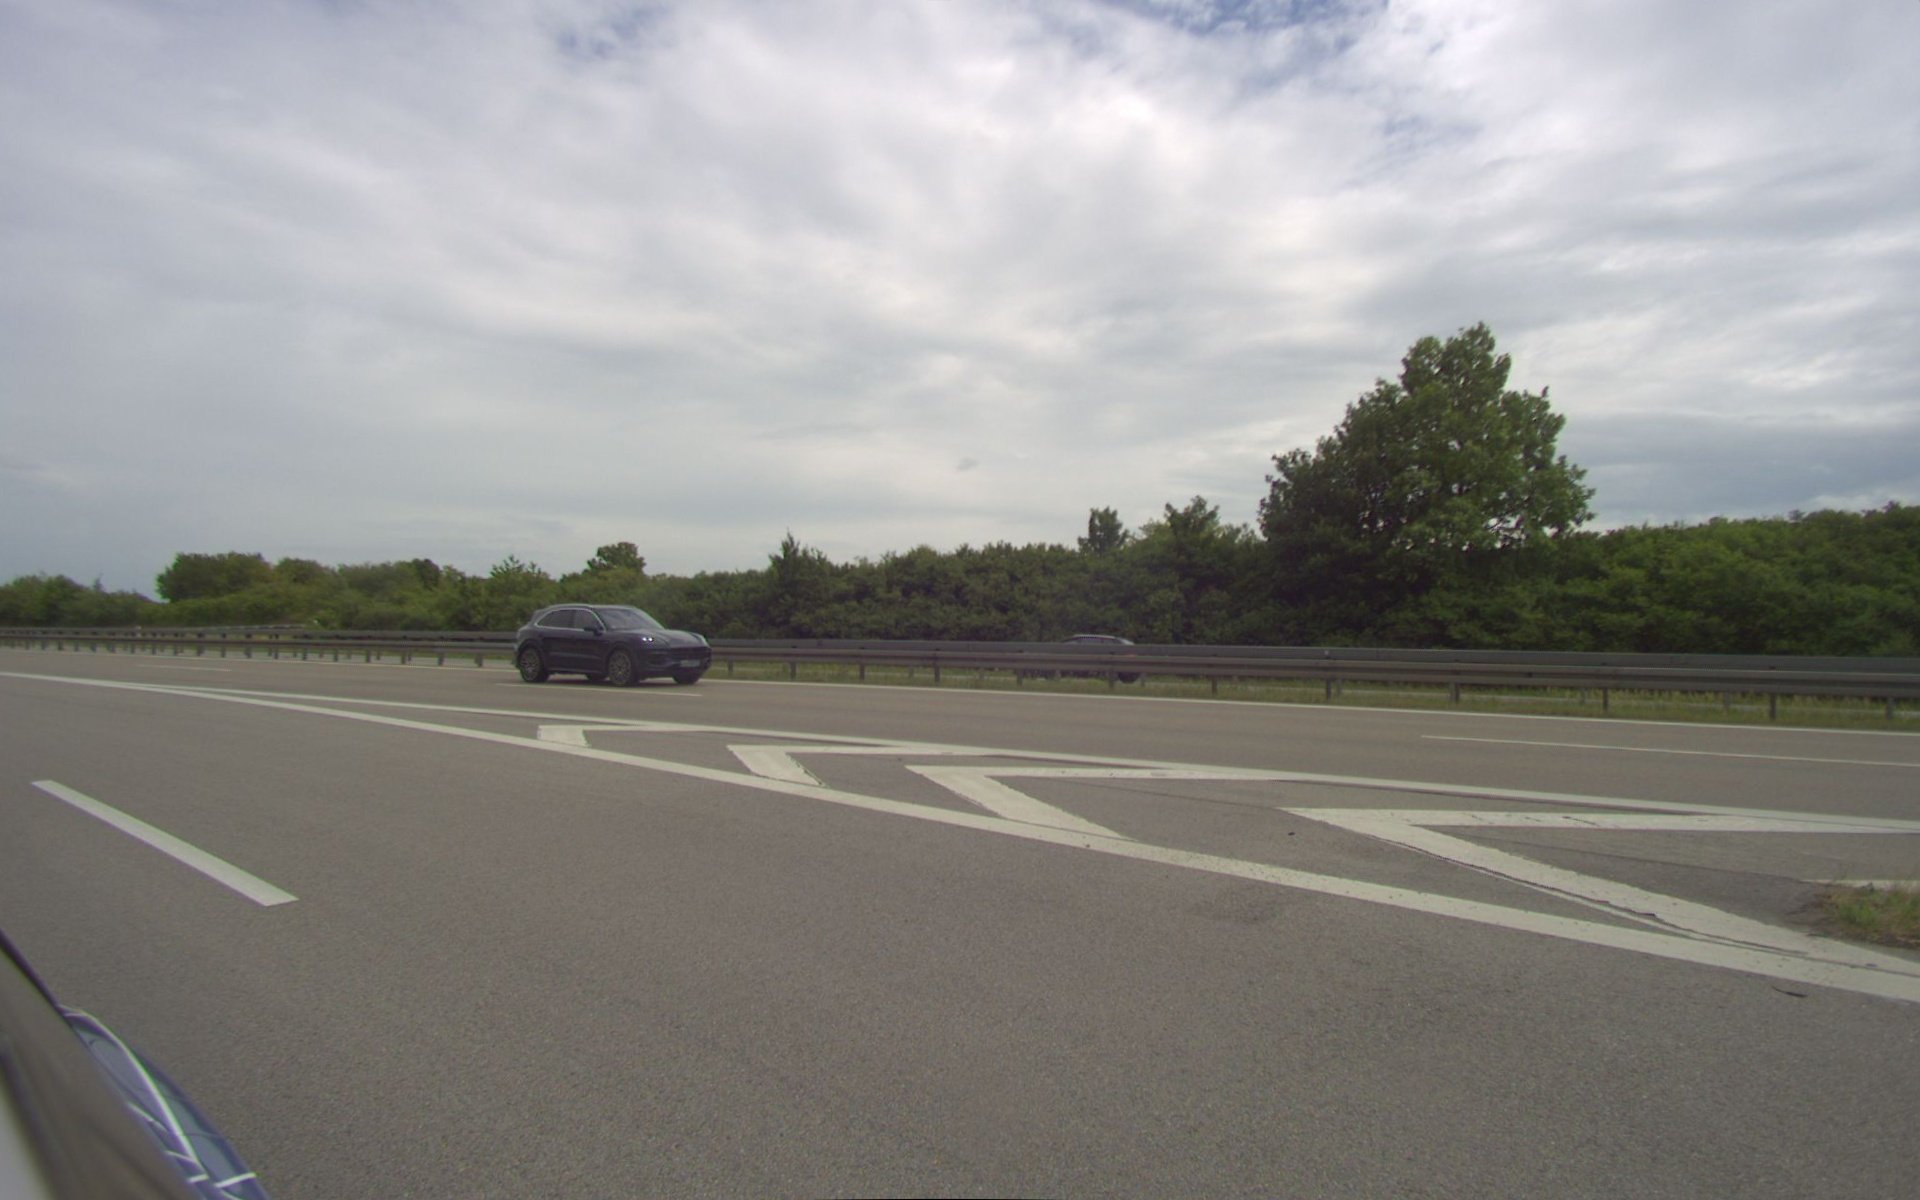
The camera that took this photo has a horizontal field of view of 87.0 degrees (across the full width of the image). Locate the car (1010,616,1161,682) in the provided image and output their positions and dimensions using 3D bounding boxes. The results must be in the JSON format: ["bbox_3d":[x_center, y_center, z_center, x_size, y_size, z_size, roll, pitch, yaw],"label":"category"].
[{"bbox_3d":[3.679,1.416,29.800,3.986,1.816,1.978,-1,-2,32],"label":"car"}]

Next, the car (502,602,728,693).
[{"bbox_3d":[-7.427,0.977,21.634,4.813,1.756,1.978,-1,-2,32],"label":"car"}]
